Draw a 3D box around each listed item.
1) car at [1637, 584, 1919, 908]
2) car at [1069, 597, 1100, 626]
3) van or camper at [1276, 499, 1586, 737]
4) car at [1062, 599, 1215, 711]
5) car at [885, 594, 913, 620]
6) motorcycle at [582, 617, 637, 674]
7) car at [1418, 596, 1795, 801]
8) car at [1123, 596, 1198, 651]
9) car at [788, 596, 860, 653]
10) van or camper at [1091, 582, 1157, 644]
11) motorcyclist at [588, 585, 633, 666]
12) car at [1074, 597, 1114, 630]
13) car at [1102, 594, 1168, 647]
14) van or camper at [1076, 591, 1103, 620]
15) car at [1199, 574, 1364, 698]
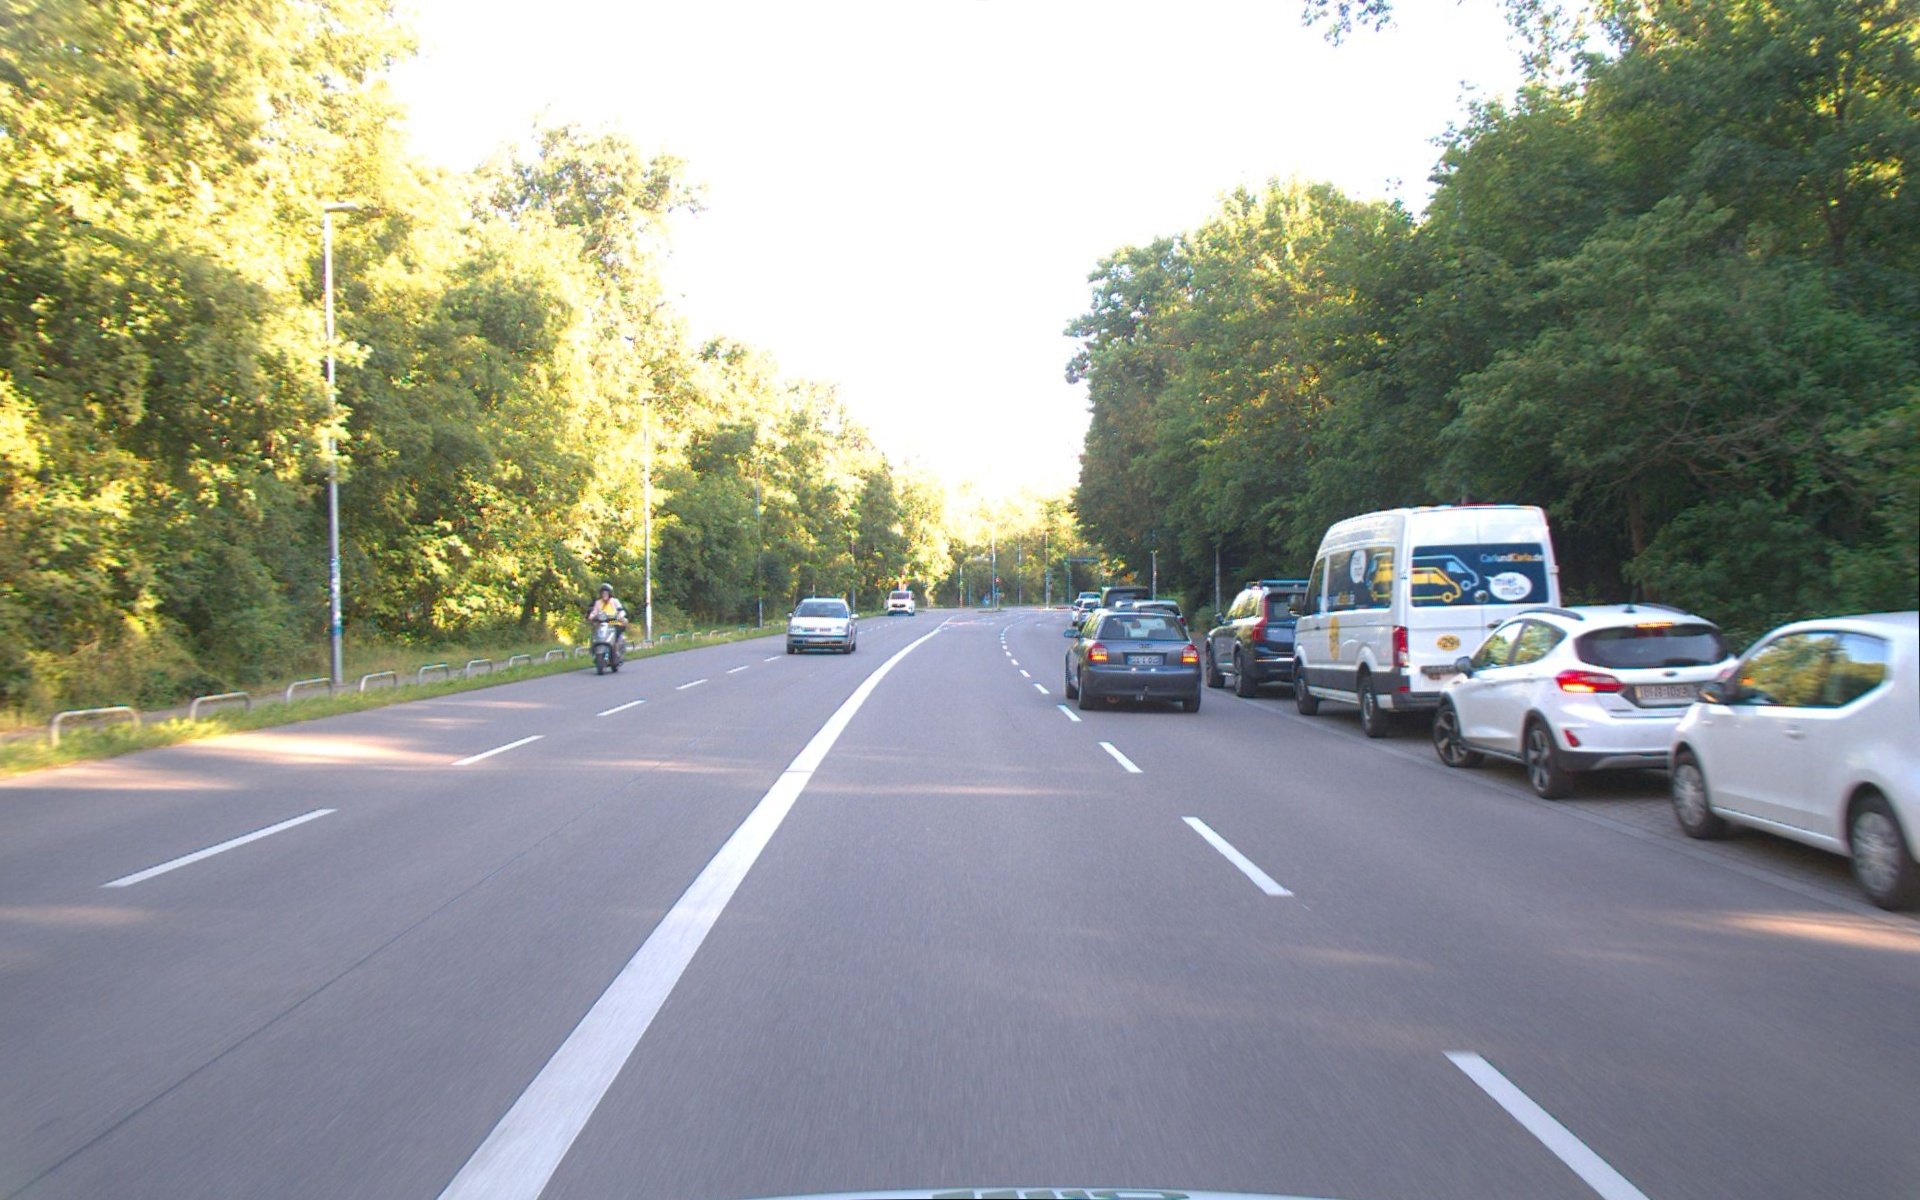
[{"bbox_3d":[5.602,0.702,9.836,1.687,1.522,3.776,-3,0,3],"label":"car"},{"bbox_3d":[7.089,0.627,94.247,1.691,1.549,4.092,-2,0,4],"label":"car"},{"bbox_3d":[5.668,0.174,20.876,2.076,2.561,5.978,-1,0,-1],"label":"van or camper"},{"bbox_3d":[2.495,0.734,23.994,1.693,1.467,4.088,0,0,-1],"label":"car"},{"bbox_3d":[-4.924,0.561,133.676,1.953,2.027,4.997,2,-1,0],"label":"car"},{"bbox_3d":[-6.614,0.836,31.284,0.623,1.013,2.077,1,0,-1],"label":"motorcycle"},{"bbox_3d":[5.461,0.739,14.573,1.688,1.522,4.145,0,0,0],"label":"car"},{"bbox_3d":[5.542,0.623,46.115,1.692,1.467,4.101,0,0,1],"label":"car"},{"bbox_3d":[-3.626,0.628,44.569,1.647,1.431,3.889,-1,0,-1],"label":"car"},{"bbox_3d":[5.628,0.426,57.297,1.853,1.982,5.135,-2,0,2],"label":"van or camper"},{"bbox_3d":[-6.614,0.477,31.330,0.710,1.531,0.671,0,0,-1],"label":"motorcyclist"},{"bbox_3d":[6.390,0.622,79.332,1.692,1.466,4.668,-2,0,2],"label":"car"},{"bbox_3d":[5.413,0.601,51.521,1.692,1.571,4.218,0,0,1],"label":"car"},{"bbox_3d":[9.119,0.390,116.599,1.793,2.005,5.344,0,0,4],"label":"van or camper"},{"bbox_3d":[5.354,0.545,28.191,1.792,1.900,5.074,-1,0,0],"label":"car"}]
